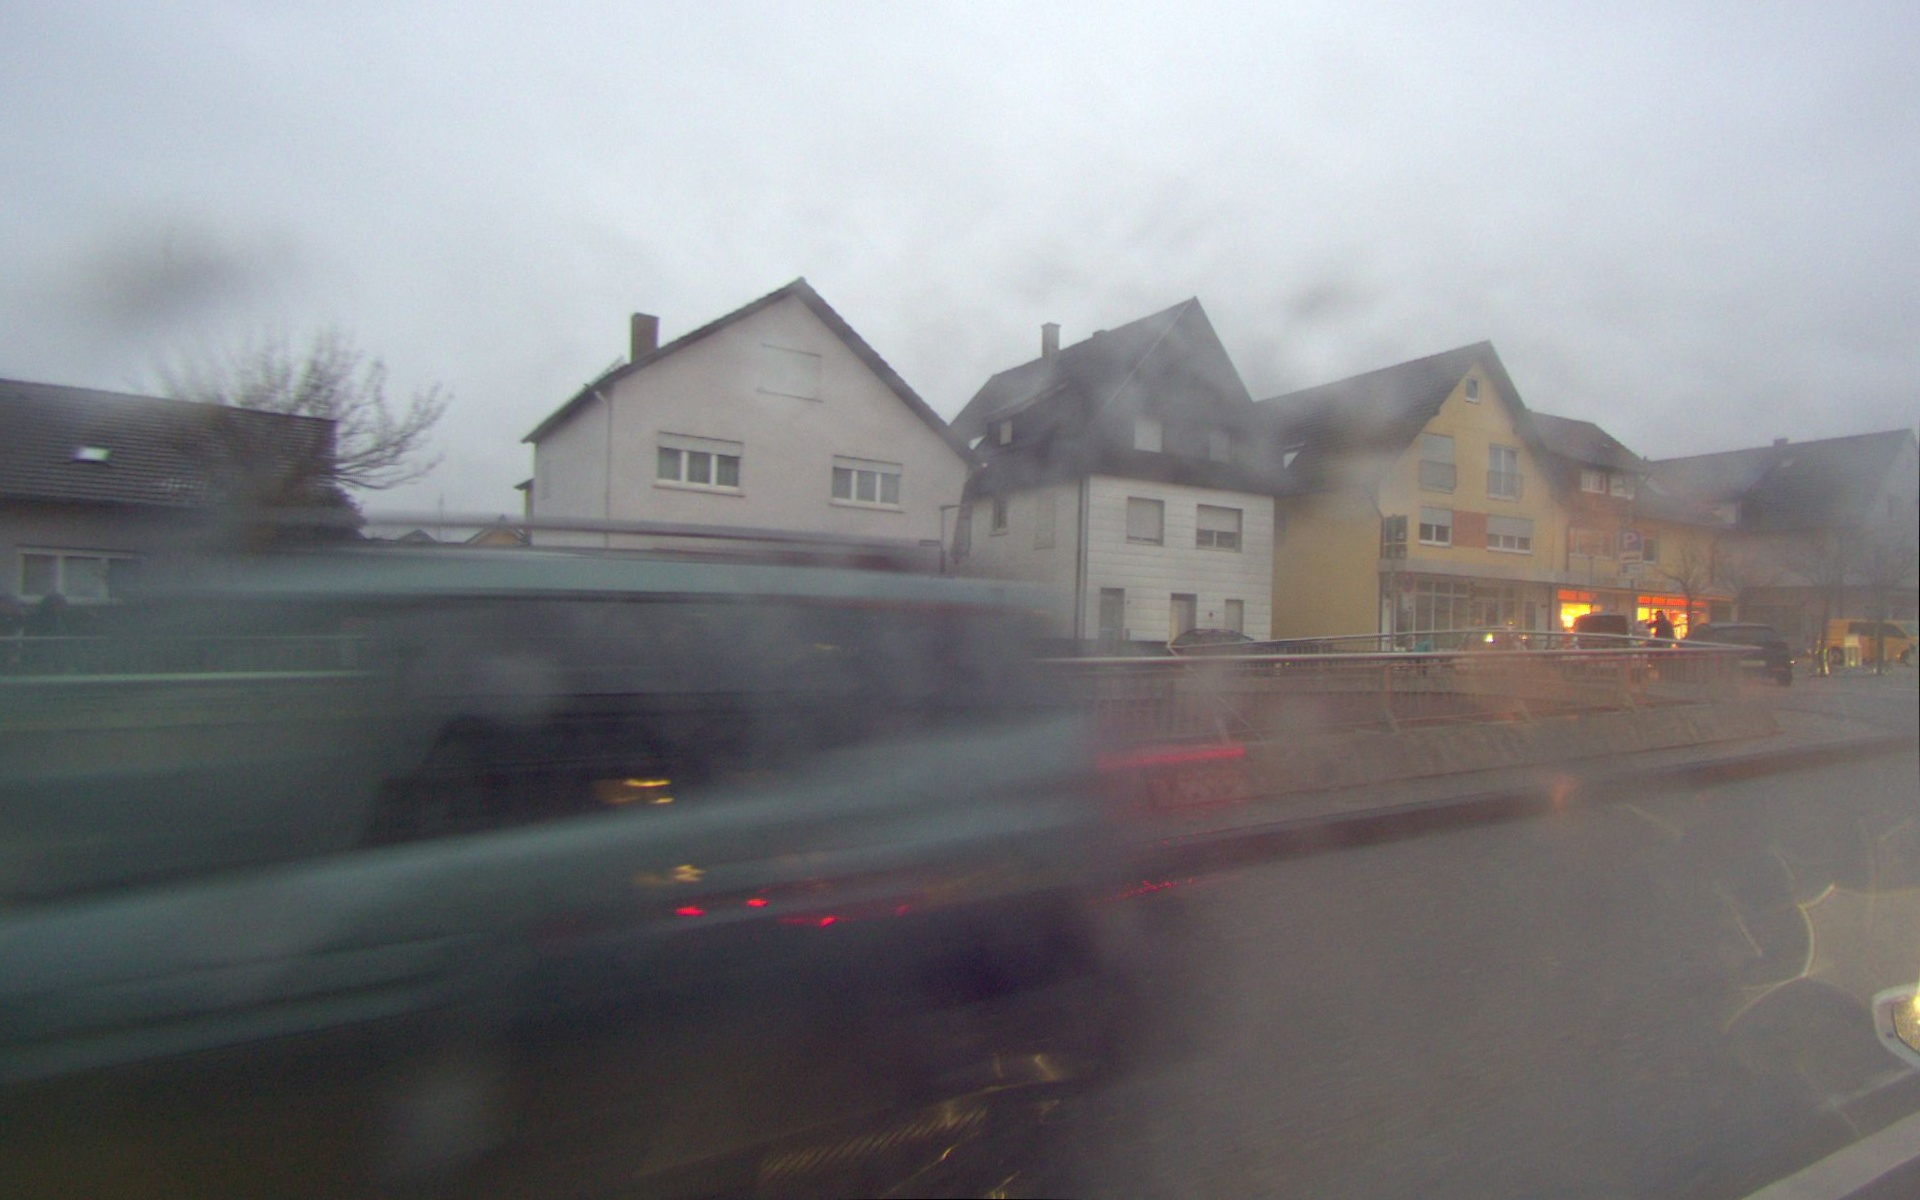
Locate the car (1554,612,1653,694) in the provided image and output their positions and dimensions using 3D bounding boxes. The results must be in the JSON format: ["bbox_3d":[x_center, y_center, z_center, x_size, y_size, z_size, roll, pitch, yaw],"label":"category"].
[{"bbox_3d":[16.755,1.315,26.099,2.010,1.951,4.044,0,-1,34],"label":"car"}]

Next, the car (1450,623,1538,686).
[{"bbox_3d":[15.230,1.485,28.570,1.797,1.634,4.044,0,-1,34],"label":"car"}]

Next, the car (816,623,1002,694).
[{"bbox_3d":[-1.222,1.374,24.625,4.170,1.583,1.900,1,-1,-32],"label":"car"}]

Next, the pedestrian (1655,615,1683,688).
[{"bbox_3d":[17.094,1.230,24.227,0.489,1.724,0.711,-2,-2,34],"label":"pedestrian"}]

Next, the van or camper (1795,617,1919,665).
[{"bbox_3d":[40.031,1.739,43.741,1.966,1.980,5.533,1,-1,-15],"label":"van or camper"}]

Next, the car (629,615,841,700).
[{"bbox_3d":[-4.925,1.204,22.174,4.175,1.705,1.898,1,-1,-35],"label":"car"}]

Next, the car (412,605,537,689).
[{"bbox_3d":[-11.039,1.043,22.711,1.847,1.716,3.959,1,-2,-36],"label":"car"}]

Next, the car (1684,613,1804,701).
[{"bbox_3d":[18.856,1.307,24.331,2.010,1.951,4.044,0,-1,34],"label":"car"}]

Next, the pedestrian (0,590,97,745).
[{"bbox_3d":[-11.254,0.795,12.235,0.963,1.808,0.922,1,0,-33],"label":"pedestrian"}]

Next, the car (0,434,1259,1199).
[{"bbox_3d":[-1.376,0.644,2.221,3.954,1.675,1.728,1,-1,-31],"label":"car"}]

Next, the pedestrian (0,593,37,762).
[{"bbox_3d":[-10.070,0.789,10.455,0.535,1.720,0.659,1,0,-33],"label":"pedestrian"}]

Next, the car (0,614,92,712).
[{"bbox_3d":[-15.439,0.923,15.087,3.425,1.446,1.473,2,-2,-35],"label":"car"}]
